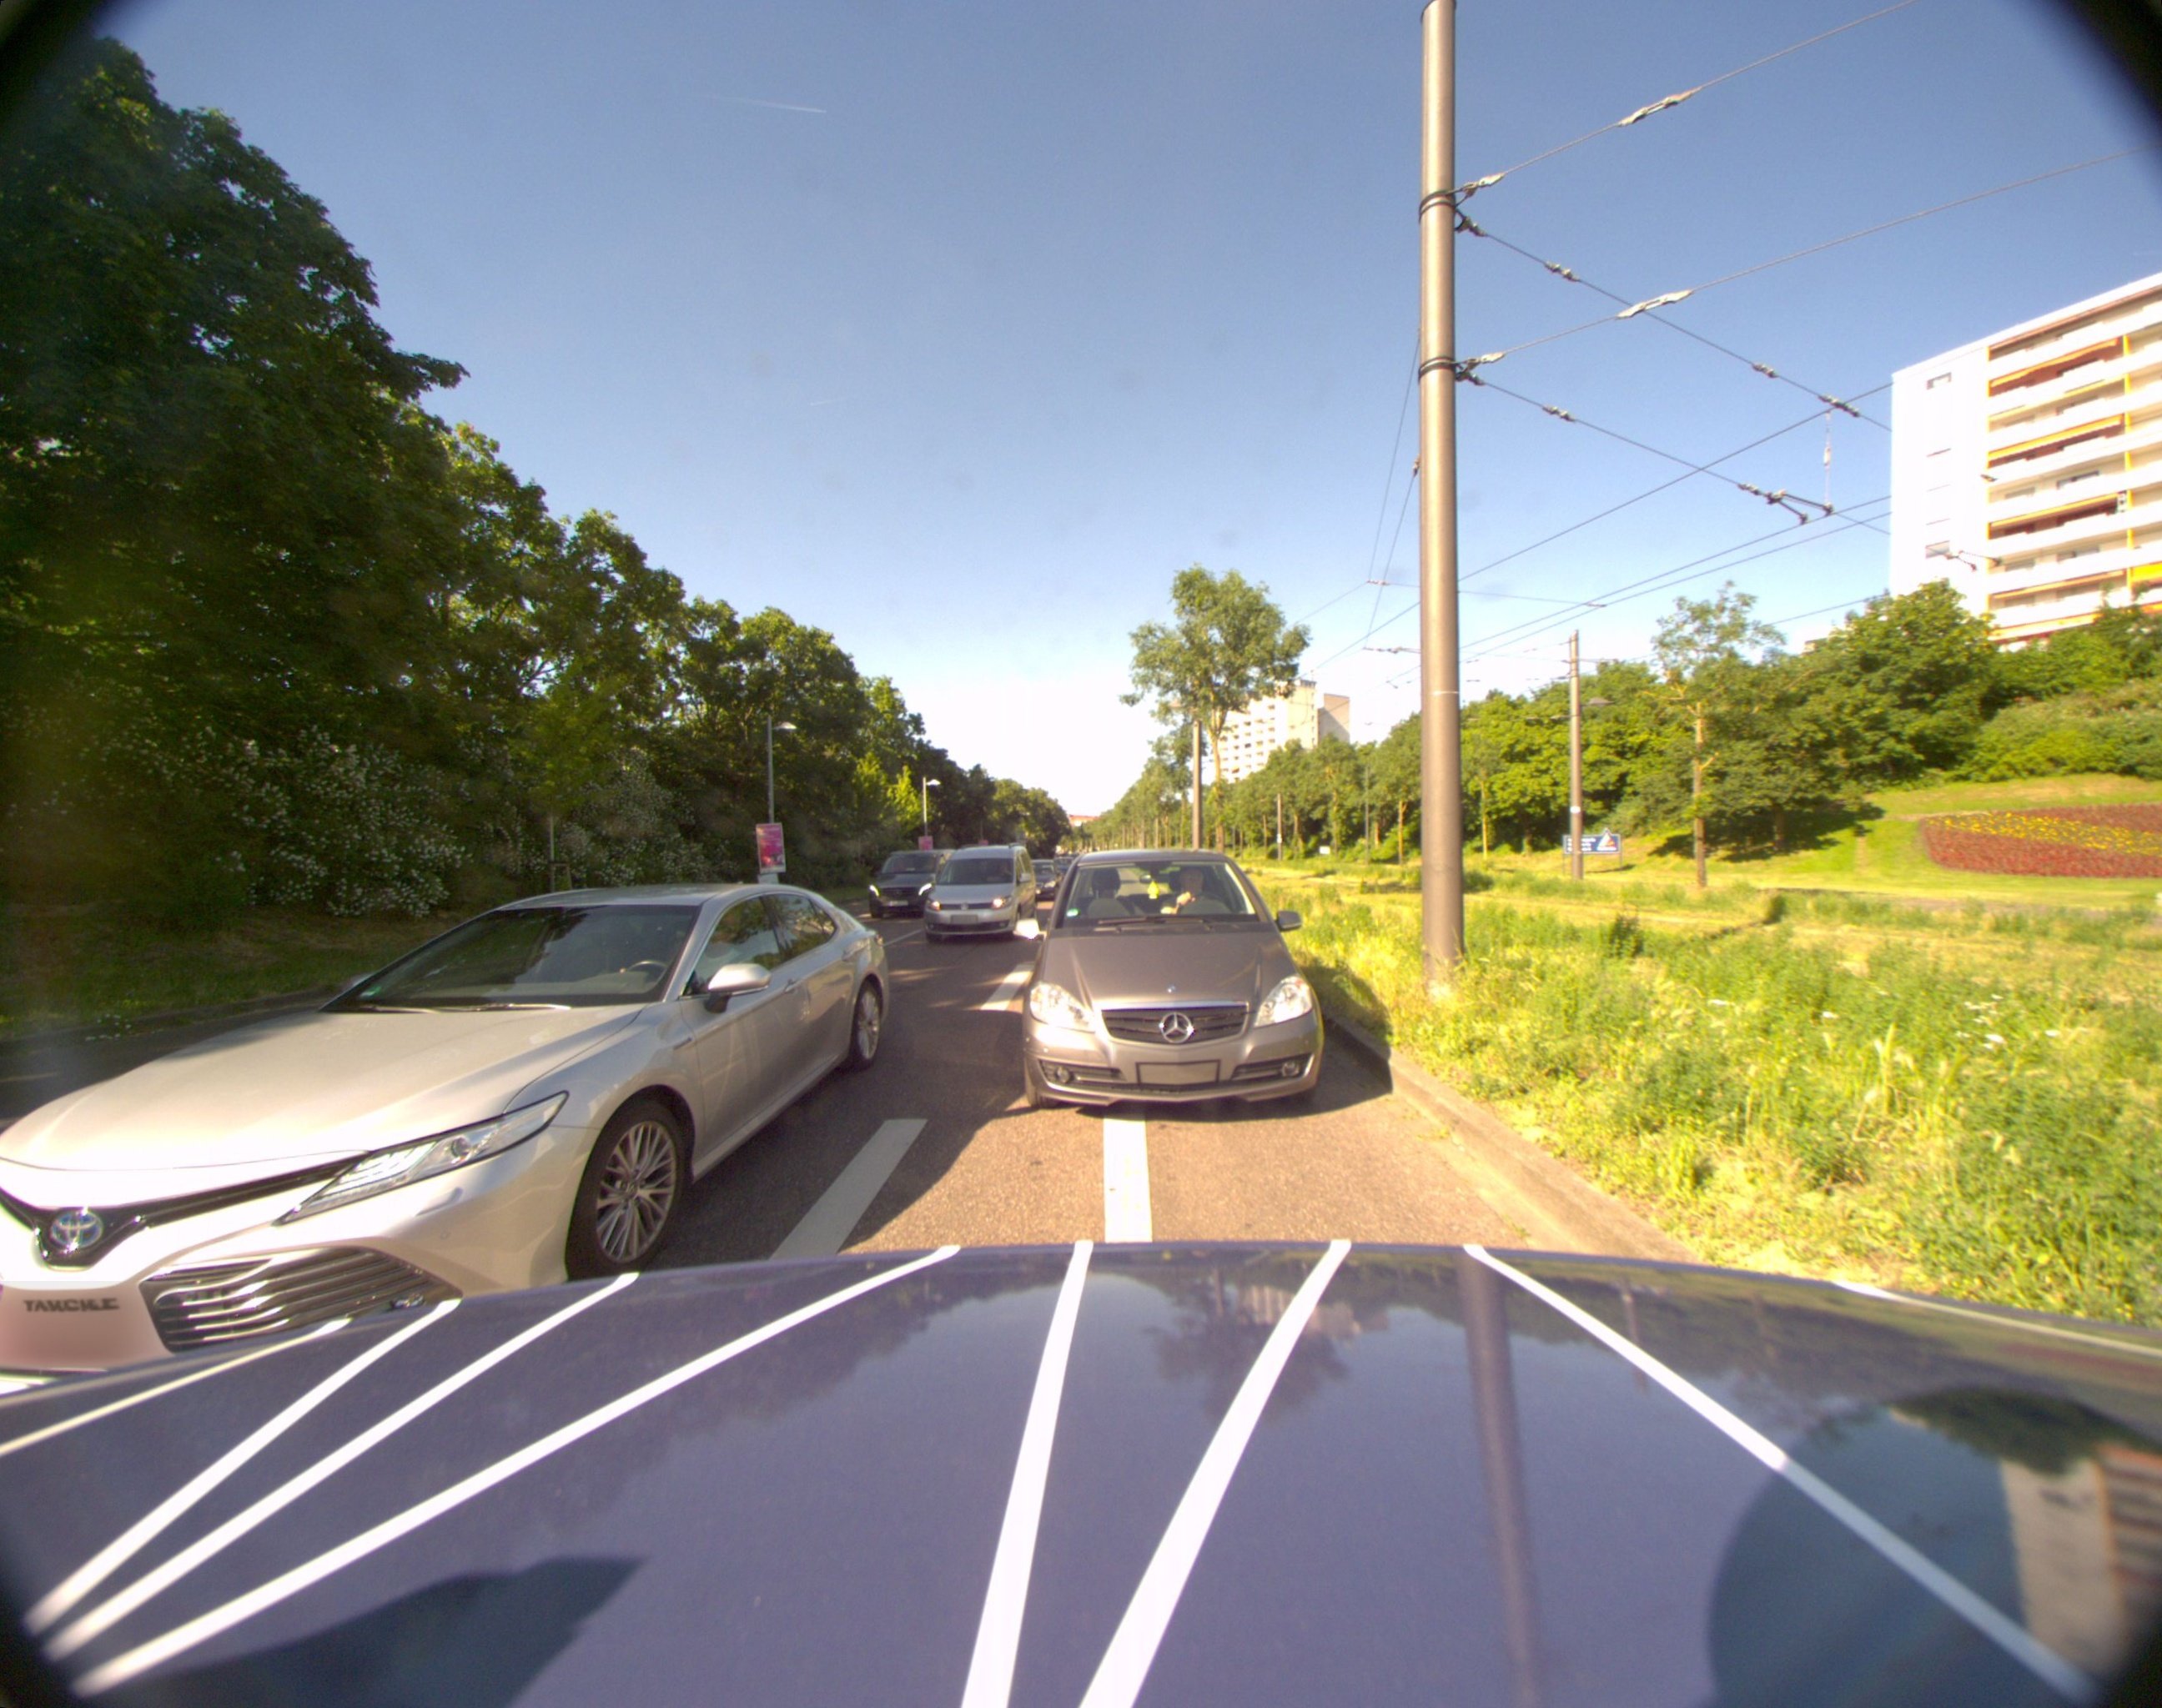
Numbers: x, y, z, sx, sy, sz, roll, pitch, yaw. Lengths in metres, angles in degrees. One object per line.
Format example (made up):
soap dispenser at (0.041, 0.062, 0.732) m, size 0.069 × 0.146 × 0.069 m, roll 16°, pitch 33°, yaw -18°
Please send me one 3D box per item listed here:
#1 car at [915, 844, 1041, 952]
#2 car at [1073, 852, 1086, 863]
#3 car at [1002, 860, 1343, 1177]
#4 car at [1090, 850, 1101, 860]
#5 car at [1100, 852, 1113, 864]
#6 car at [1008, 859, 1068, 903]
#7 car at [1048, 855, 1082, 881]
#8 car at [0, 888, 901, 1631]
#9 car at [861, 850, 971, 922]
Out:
car at (-1.948, 0.772, 15.779) m, size 1.822 × 1.893 × 4.622 m, roll -1°, pitch 0°, yaw 2°
car at (-0.205, 0.460, 108.695) m, size 1.777 × 1.597 × 4.384 m, roll -1°, pitch 0°, yaw 1°
car at (0.513, 0.892, 6.198) m, size 1.777 × 1.597 × 4.384 m, roll -1°, pitch 0°, yaw 1°
car at (2.452, 0.179, 126.944) m, size 1.777 × 1.597 × 4.384 m, roll -1°, pitch 0°, yaw 1°
car at (3.618, 0.602, 108.082) m, size 1.777 × 1.597 × 4.384 m, roll -1°, pitch 0°, yaw 1°
car at (-1.467, 0.922, 27.331) m, size 1.776 × 1.395 × 4.067 m, roll -1°, pitch 0°, yaw 2°
car at (-0.875, 0.813, 44.424) m, size 1.776 × 1.395 × 4.067 m, roll -1°, pitch 0°, yaw 2°
car at (-2.647, 1.042, 4.114) m, size 2.069 × 1.451 × 4.749 m, roll -1°, pitch 0°, yaw 2°
car at (-4.720, 0.823, 22.625) m, size 1.998 × 1.882 × 5.148 m, roll -1°, pitch 0°, yaw 1°
